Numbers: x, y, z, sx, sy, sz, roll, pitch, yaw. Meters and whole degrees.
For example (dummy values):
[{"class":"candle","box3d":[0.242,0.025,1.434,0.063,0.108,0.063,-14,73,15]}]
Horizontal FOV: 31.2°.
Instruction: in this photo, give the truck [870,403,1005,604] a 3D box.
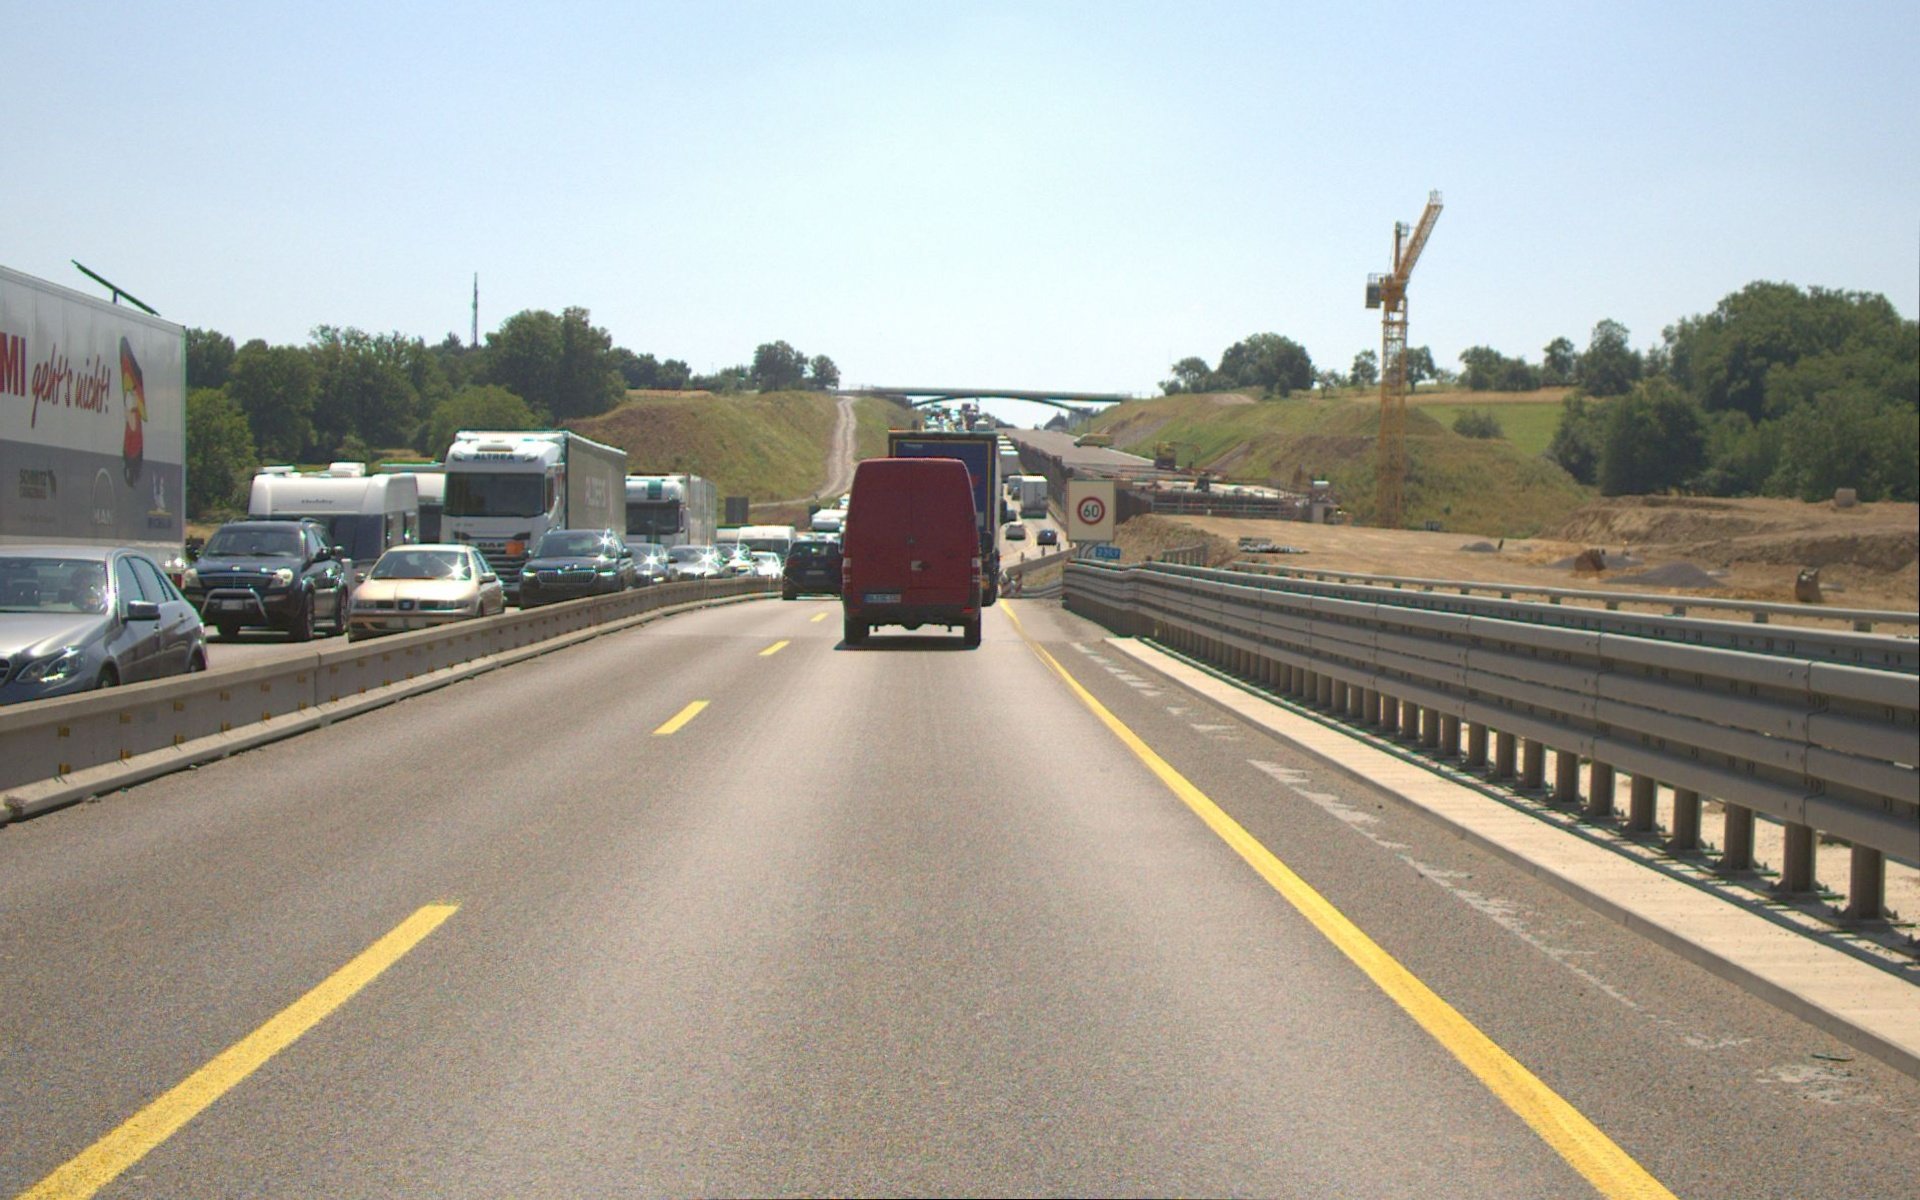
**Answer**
[{"class":"truck","box3d":[-0.617,-2.340,84.583,3.020,4.677,6.933,-1,1,-2]}]

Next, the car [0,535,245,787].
[{"class":"car","box3d":[-6.545,0.346,24.488,1.890,1.482,4.920,3,2,-1]}]

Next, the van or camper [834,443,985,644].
[{"class":"van or camper","box3d":[-0.777,-0.815,49.546,2.029,2.735,4.516,1,1,-2]}]

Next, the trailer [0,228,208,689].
[{"class":"trailer","box3d":[-10.096,-1.372,33.937,2.806,4.162,11.799,1,2,0]}]

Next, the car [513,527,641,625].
[{"class":"car","box3d":[-7.016,-0.472,63.312,1.847,1.682,4.619,2,1,-1]}]

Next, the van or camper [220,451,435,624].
[{"class":"van or camper","box3d":[-10.314,-1.033,56.515,2.503,2.689,5.243,0,1,1]}]

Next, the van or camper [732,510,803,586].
[{"class":"van or camper","box3d":[-6.776,-1.864,121.644,2.218,2.503,6.534,3,2,-2]}]

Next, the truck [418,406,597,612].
[{"class":"truck","box3d":[-10.357,-2.075,79.335,3.078,4.521,7.103,1,1,1]}]

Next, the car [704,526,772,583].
[{"class":"car","box3d":[-6.717,-1.395,104.313,1.756,1.641,4.156,2,1,-1]}]

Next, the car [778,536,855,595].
[{"class":"car","box3d":[-3.851,-0.944,92.829,2.012,1.539,4.133,1,1,-2]}]

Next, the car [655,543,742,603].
[{"class":"car","box3d":[-6.844,-0.738,90.328,1.865,1.454,4.607,2,1,0]}]

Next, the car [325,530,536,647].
[{"class":"car","box3d":[-7.126,-0.185,46.701,1.901,1.456,4.194,-1,2,5]}]

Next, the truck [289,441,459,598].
[{"class":"truck","box3d":[-14.938,-2.063,88.238,2.904,3.752,8.368,1,1,0]}]

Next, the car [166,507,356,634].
[{"class":"car","box3d":[-10.065,-0.458,49.845,1.767,1.728,4.791,1,1,0]}]

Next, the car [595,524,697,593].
[{"class":"car","box3d":[-6.939,-0.946,76.373,1.777,1.415,4.538,2,1,0]}]

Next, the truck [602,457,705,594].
[{"class":"truck","box3d":[-10.075,-2.460,113.479,2.806,4.377,6.225,0,1,0]}]
